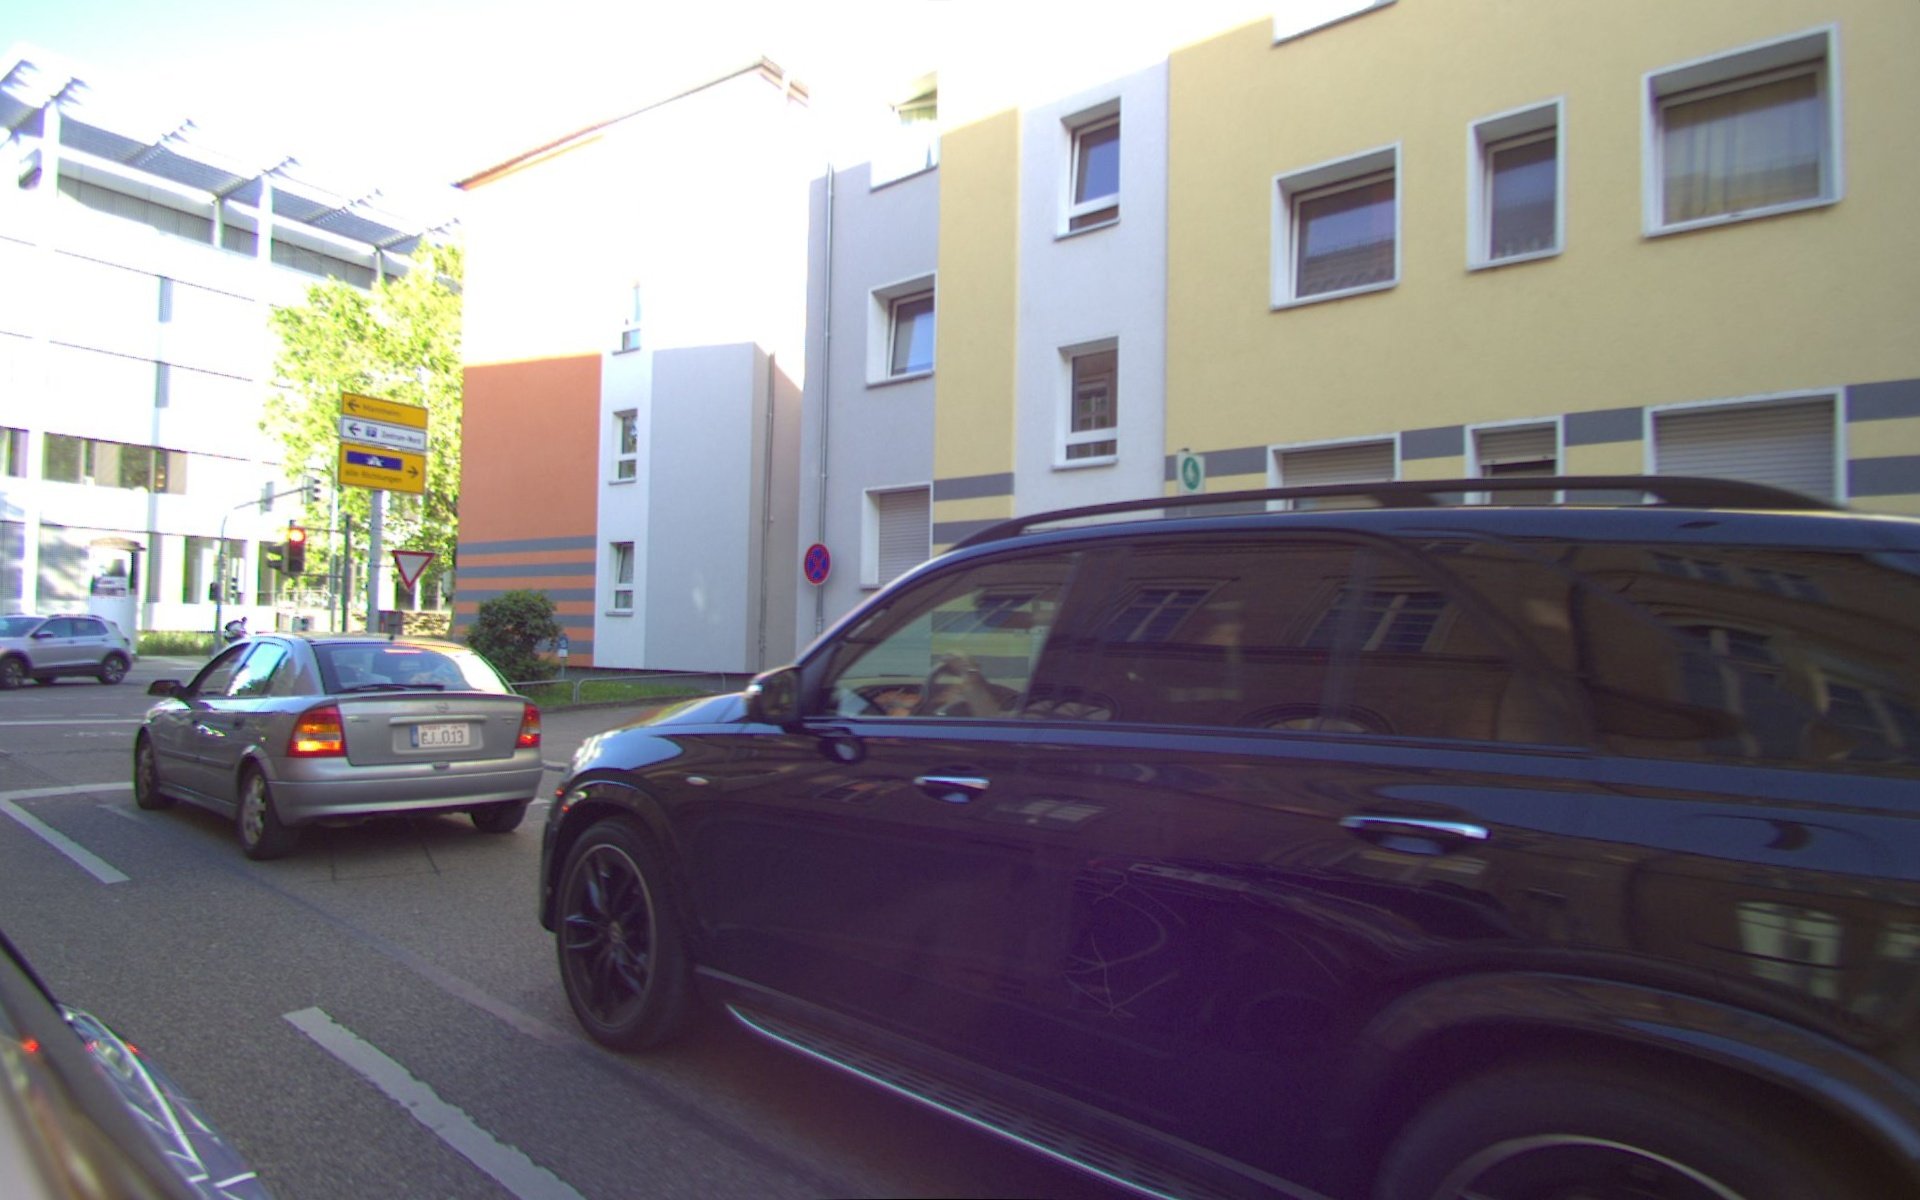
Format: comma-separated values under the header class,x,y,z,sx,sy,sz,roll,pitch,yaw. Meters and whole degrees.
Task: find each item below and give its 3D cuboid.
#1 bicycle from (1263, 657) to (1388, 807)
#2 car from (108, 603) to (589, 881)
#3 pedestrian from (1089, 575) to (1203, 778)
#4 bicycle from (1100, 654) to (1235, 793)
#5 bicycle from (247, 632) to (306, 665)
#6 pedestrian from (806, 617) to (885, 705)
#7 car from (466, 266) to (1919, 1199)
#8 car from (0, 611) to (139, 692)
class,x,y,z,sx,sy,sz,roll,pitch,yaw
bicycle,3.255,1.095,8.916,0.649,1.154,1.737,-1,-2,34
car,-4.669,0.851,7.483,4.133,1.497,1.723,-1,-5,40
pedestrian,1.809,0.725,9.901,0.709,1.869,0.872,2,-2,-27
bicycle,2.003,1.105,9.570,0.649,1.154,1.737,-1,-2,34
bicycle,-25.728,1.812,38.106,1.967,1.191,0.470,1,-1,4
pedestrian,-2.131,1.112,18.918,1.077,1.584,1.003,-1,-2,35
car,0.624,0.565,3.053,5.092,1.849,1.880,-1,-4,41
car,-19.803,1.051,21.303,1.724,1.616,3.998,1,-2,1
